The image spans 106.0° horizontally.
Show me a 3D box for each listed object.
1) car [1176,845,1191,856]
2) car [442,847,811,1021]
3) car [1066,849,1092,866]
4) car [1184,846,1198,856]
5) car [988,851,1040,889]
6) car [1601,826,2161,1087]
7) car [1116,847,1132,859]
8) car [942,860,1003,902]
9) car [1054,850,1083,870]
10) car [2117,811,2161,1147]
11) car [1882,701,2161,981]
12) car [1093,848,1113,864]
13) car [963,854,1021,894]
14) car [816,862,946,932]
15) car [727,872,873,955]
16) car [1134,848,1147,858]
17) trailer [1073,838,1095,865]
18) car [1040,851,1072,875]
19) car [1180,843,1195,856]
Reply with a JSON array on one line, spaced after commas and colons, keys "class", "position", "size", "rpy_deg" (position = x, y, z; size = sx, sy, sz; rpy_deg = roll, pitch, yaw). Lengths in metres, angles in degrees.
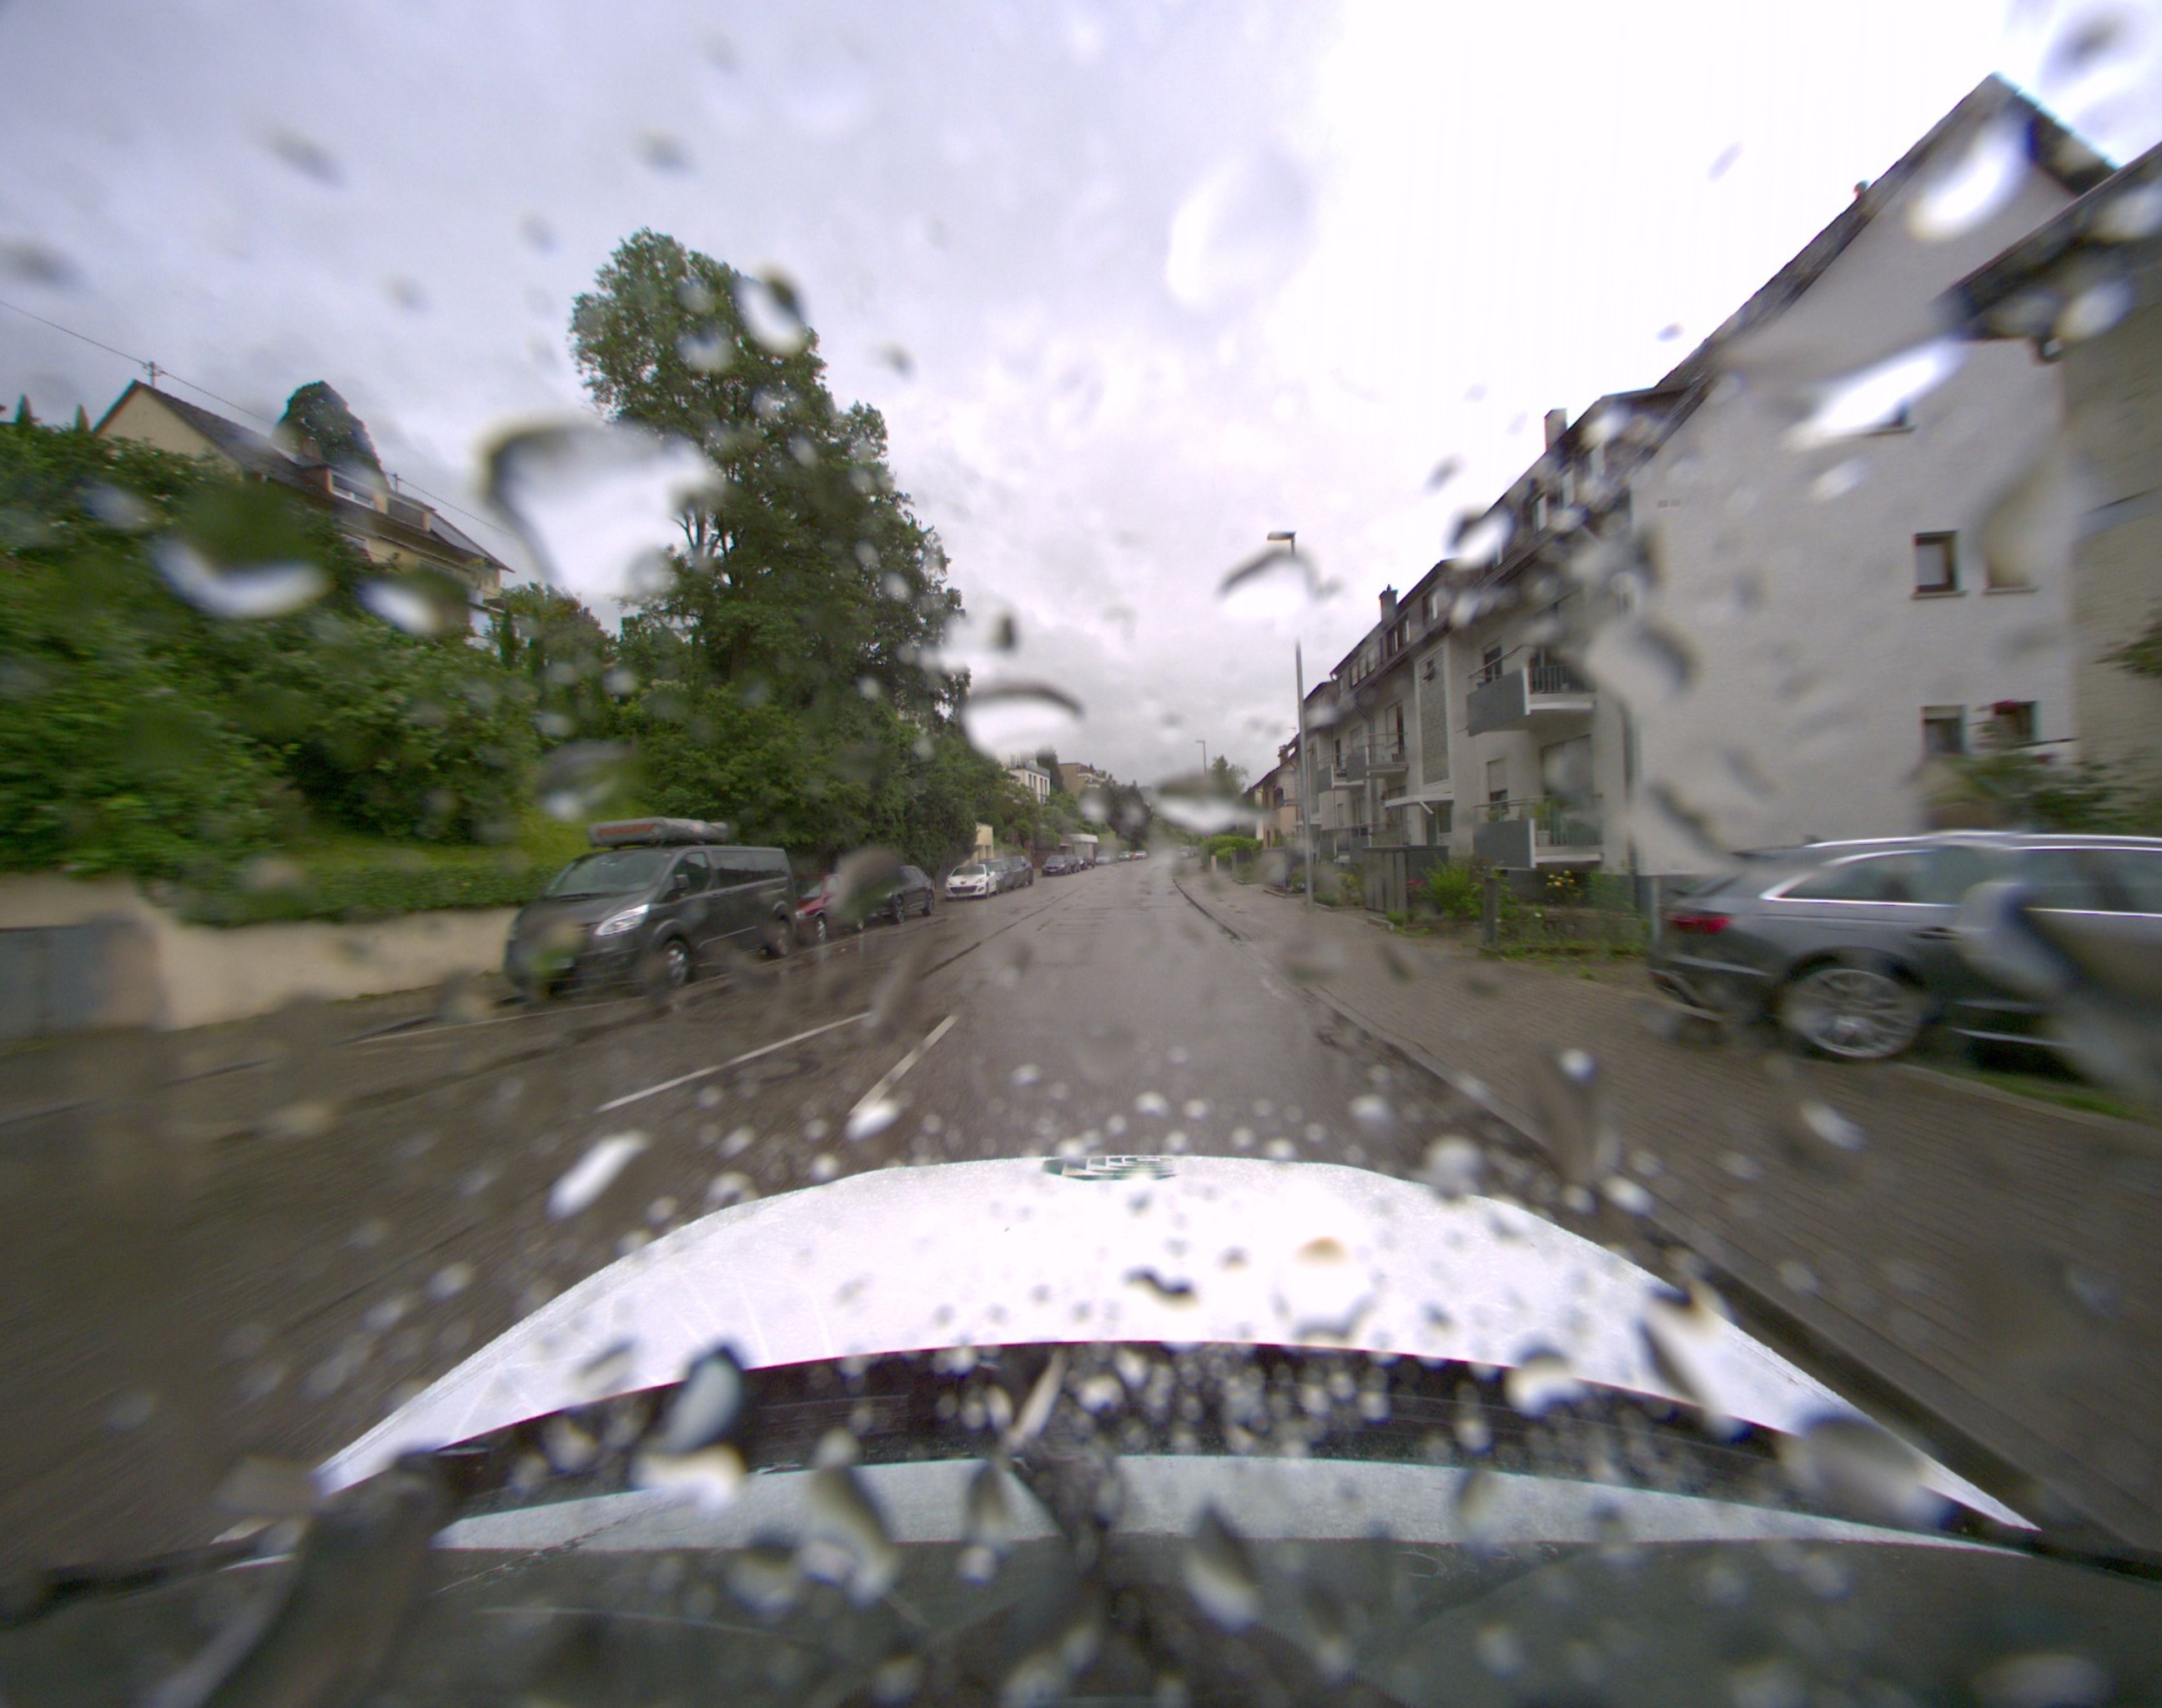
[{"class": "car", "position": [14.647, -0.543, 116.128], "size": [1.777, 1.459, 4.322], "rpy_deg": [-2, 0, 12]}, {"class": "car", "position": [-6.246, 0.930, 12.243], "size": [2.149, 1.918, 5.329], "rpy_deg": [-4, 0, 4]}, {"class": "car", "position": [-0.135, 0.309, 73.844], "size": [1.799, 1.349, 3.783], "rpy_deg": [-4, 1, 6]}, {"class": "car", "position": [17.224, -0.496, 127.495], "size": [1.698, 1.403, 4.217], "rpy_deg": [-2, 0, 12]}, {"class": "car", "position": [-3.540, 0.814, 43.872], "size": [1.865, 1.625, 4.601], "rpy_deg": [-6, 1, 6]}, {"class": "car", "position": [5.987, 0.534, 5.208], "size": [4.325, 1.364, 1.932], "rpy_deg": [-2, 0, 36]}, {"class": "car", "position": [6.187, -0.135, 116.793], "size": [1.746, 1.402, 3.779], "rpy_deg": [-5, 0, 8]}, {"class": "car", "position": [-4.449, 1.067, 33.911], "size": [1.709, 1.365, 4.086], "rpy_deg": [-5, 1, 3]}, {"class": "car", "position": [-1.003, 0.502, 67.584], "size": [1.776, 1.415, 4.226], "rpy_deg": [-4, 1, 6]}, {"class": "car", "position": [5.938, 0.515, 1.926], "size": [3.948, 1.456, 1.784], "rpy_deg": [-2, 1, 36]}, {"class": "car", "position": [12.138, -0.234, 9.029], "size": [4.442, 2.759, 2.008], "rpy_deg": [-2, 3, 2]}, {"class": "car", "position": [2.563, 0.239, 94.205], "size": [1.746, 1.539, 3.765], "rpy_deg": [-6, 1, 8]}, {"class": "car", "position": [-4.156, 0.894, 38.640], "size": [1.733, 1.561, 4.117], "rpy_deg": [-5, 1, 6]}, {"class": "car", "position": [-5.360, 1.082, 22.573], "size": [1.899, 1.480, 4.762], "rpy_deg": [-5, 0, 5]}, {"class": "car", "position": [-5.926, 1.189, 17.681], "size": [1.558, 1.364, 3.910], "rpy_deg": [-5, 0, 3]}, {"class": "car", "position": [9.967, -0.215, 135.658], "size": [1.745, 1.497, 4.231], "rpy_deg": [-4, 0, 9]}, {"class": "trailer", "position": [0.319, -0.272, 79.872], "size": [1.527, 2.399, 3.082], "rpy_deg": [-5, 0, 10]}, {"class": "car", "position": [-1.843, 0.634, 61.726], "size": [1.777, 1.454, 4.763], "rpy_deg": [-5, 1, 5]}, {"class": "car", "position": [15.951, -0.738, 121.564], "size": [1.773, 1.790, 4.375], "rpy_deg": [-2, 0, 12]}]
